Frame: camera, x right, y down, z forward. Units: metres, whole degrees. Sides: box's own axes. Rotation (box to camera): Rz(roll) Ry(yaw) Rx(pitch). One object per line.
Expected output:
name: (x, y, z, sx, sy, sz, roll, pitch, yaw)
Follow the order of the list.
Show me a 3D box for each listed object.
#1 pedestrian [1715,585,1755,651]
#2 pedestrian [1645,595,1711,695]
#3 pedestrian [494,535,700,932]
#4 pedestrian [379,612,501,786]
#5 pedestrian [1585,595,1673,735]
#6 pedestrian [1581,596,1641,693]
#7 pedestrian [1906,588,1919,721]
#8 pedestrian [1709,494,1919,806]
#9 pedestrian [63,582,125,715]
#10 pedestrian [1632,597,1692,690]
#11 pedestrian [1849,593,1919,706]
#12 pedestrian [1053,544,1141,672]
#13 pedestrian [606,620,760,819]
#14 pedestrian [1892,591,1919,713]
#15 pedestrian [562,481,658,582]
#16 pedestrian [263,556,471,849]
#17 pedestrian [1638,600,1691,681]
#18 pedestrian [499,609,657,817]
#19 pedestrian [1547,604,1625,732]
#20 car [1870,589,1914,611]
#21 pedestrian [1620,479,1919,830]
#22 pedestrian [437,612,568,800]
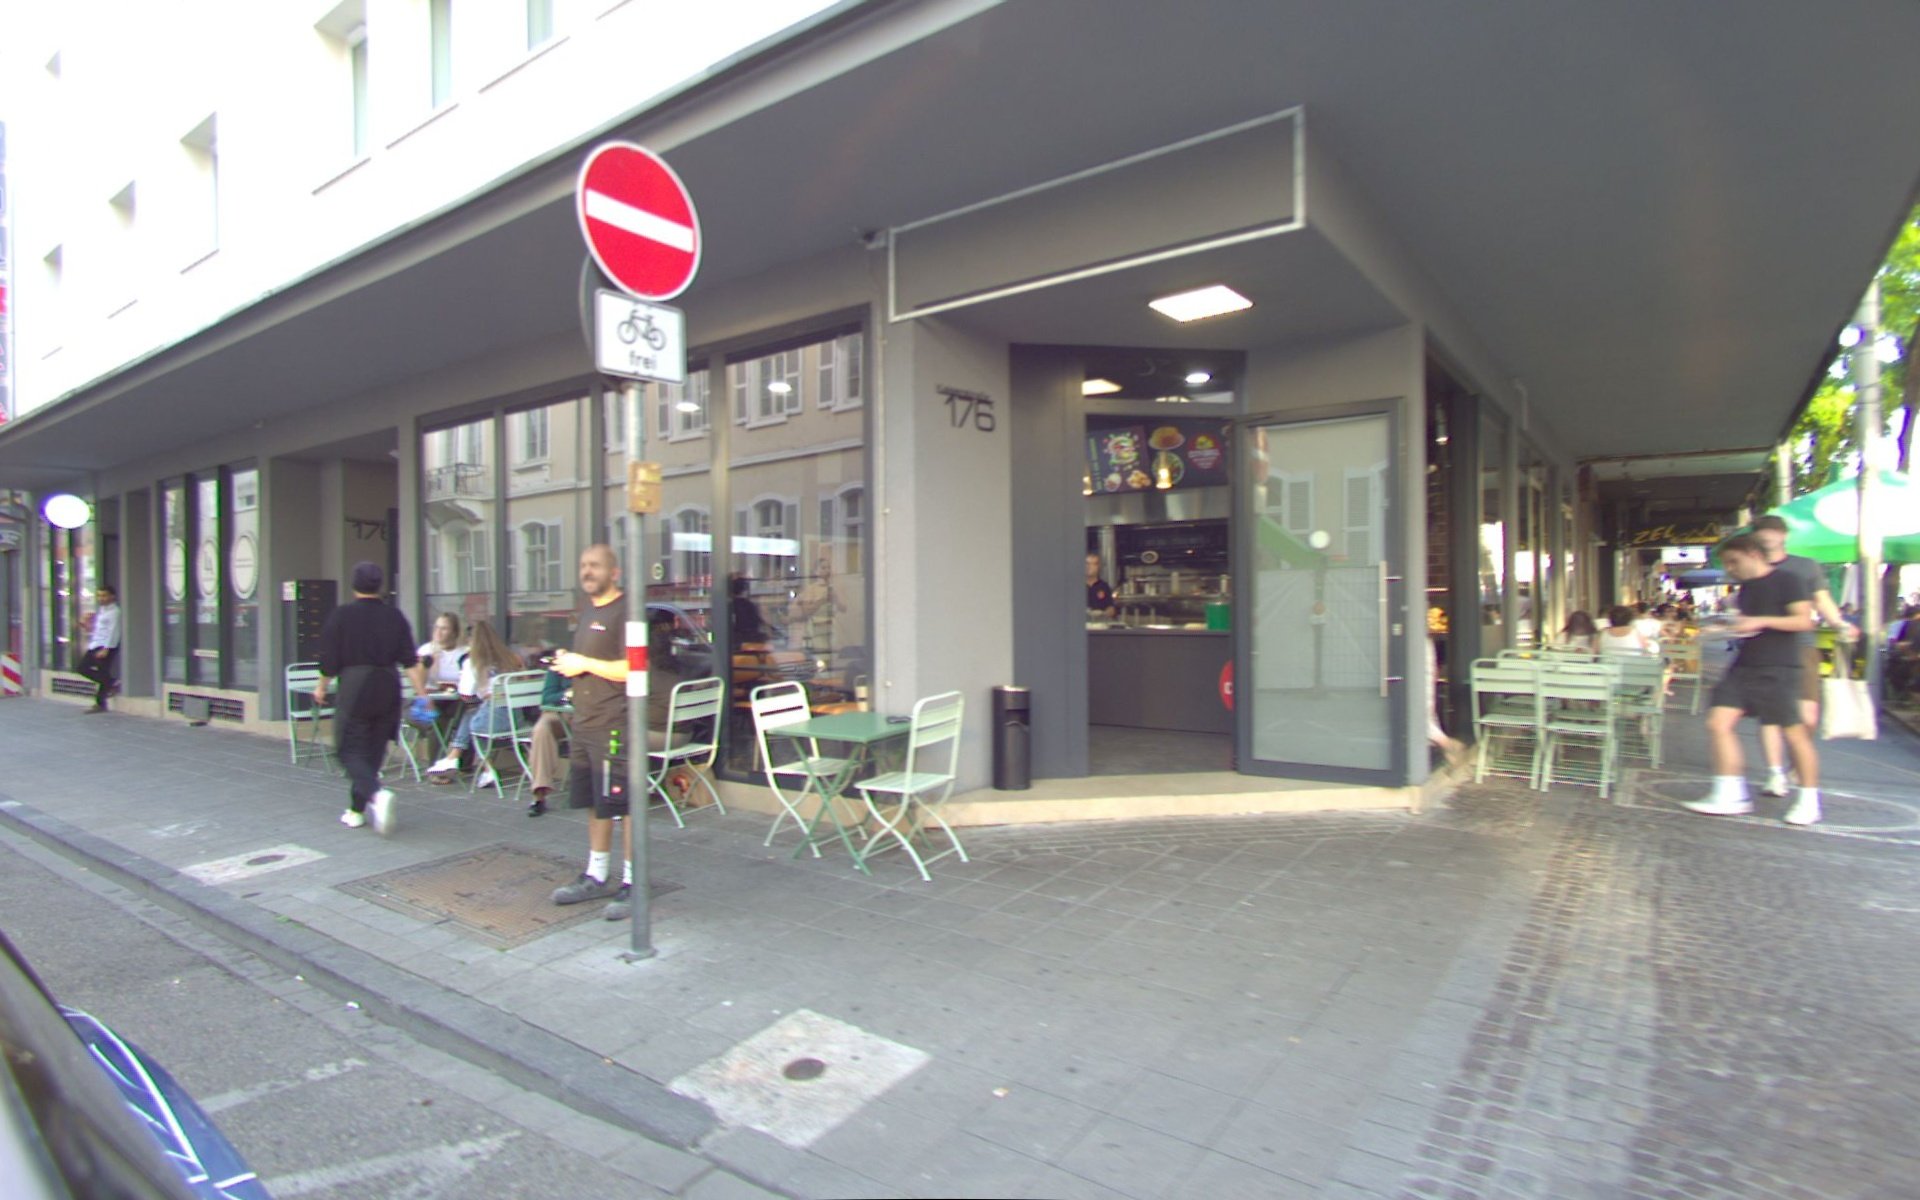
pedestrian: (19.384, 0.443, 25.338, 0.708, 1.619, 0.870, -1, -1, 34)
pedestrian: (9.587, 0.589, 13.529, 0.652, 1.269, 0.666, -2, 1, 33)
pedestrian: (-1.630, 0.568, 4.597, 0.680, 1.680, 0.504, -1, 1, 12)
pedestrian: (-4.119, 0.752, 8.018, 0.712, 1.285, 0.568, -2, 1, 37)
pedestrian: (6.422, 0.602, 9.740, 0.652, 1.269, 0.666, -2, 1, 33)
pedestrian: (8.989, 0.600, 13.985, 0.652, 1.269, 0.666, -2, 1, 33)
pedestrian: (10.220, 0.558, 10.294, 0.729, 1.368, 0.706, -2, 1, 33)
pedestrian: (5.824, 0.324, 6.920, 1.027, 1.916, 1.057, -1, -2, 34)
pedestrian: (-12.326, 0.679, 14.408, 0.560, 1.848, 0.526, -2, -1, 30)
pedestrian: (10.034, 0.608, 14.482, 0.652, 1.269, 0.666, -2, 1, 33)
pedestrian: (11.762, 0.610, 12.739, 0.729, 1.368, 0.706, -2, 1, 33)
pedestrian: (1.418, 0.078, 10.470, 0.652, 1.269, 0.666, -2, 1, 33)
pedestrian: (-1.716, 0.703, 6.272, 0.712, 1.122, 0.568, -2, 1, 37)
pedestrian: (11.374, 0.587, 11.703, 0.729, 1.368, 0.706, -2, 1, 33)
pedestrian: (-8.337, -1.546, 24.402, 1.966, 2.029, 4.011, 0, -1, -16)
pedestrian: (-3.732, 0.585, 6.383, 0.900, 1.680, 0.789, -1, 1, 35)
pedestrian: (11.429, 0.648, 16.438, 0.652, 1.269, 0.666, -2, 1, 33)
pedestrian: (-2.589, 0.723, 6.871, 0.712, 1.285, 0.696, -2, 1, 36)
pedestrian: (6.585, 0.696, 10.660, 0.652, 1.269, 0.666, -2, 1, 33)
car: (75.059, 0.013, 81.535, 1.924, 1.653, 3.681, -1, -2, 32)
pedestrian: (4.843, 0.308, 6.091, 1.056, 1.916, 1.028, 0, -1, 6)
pedestrian: (-3.377, 0.744, 7.468, 0.712, 1.285, 0.568, -2, 1, 37)
